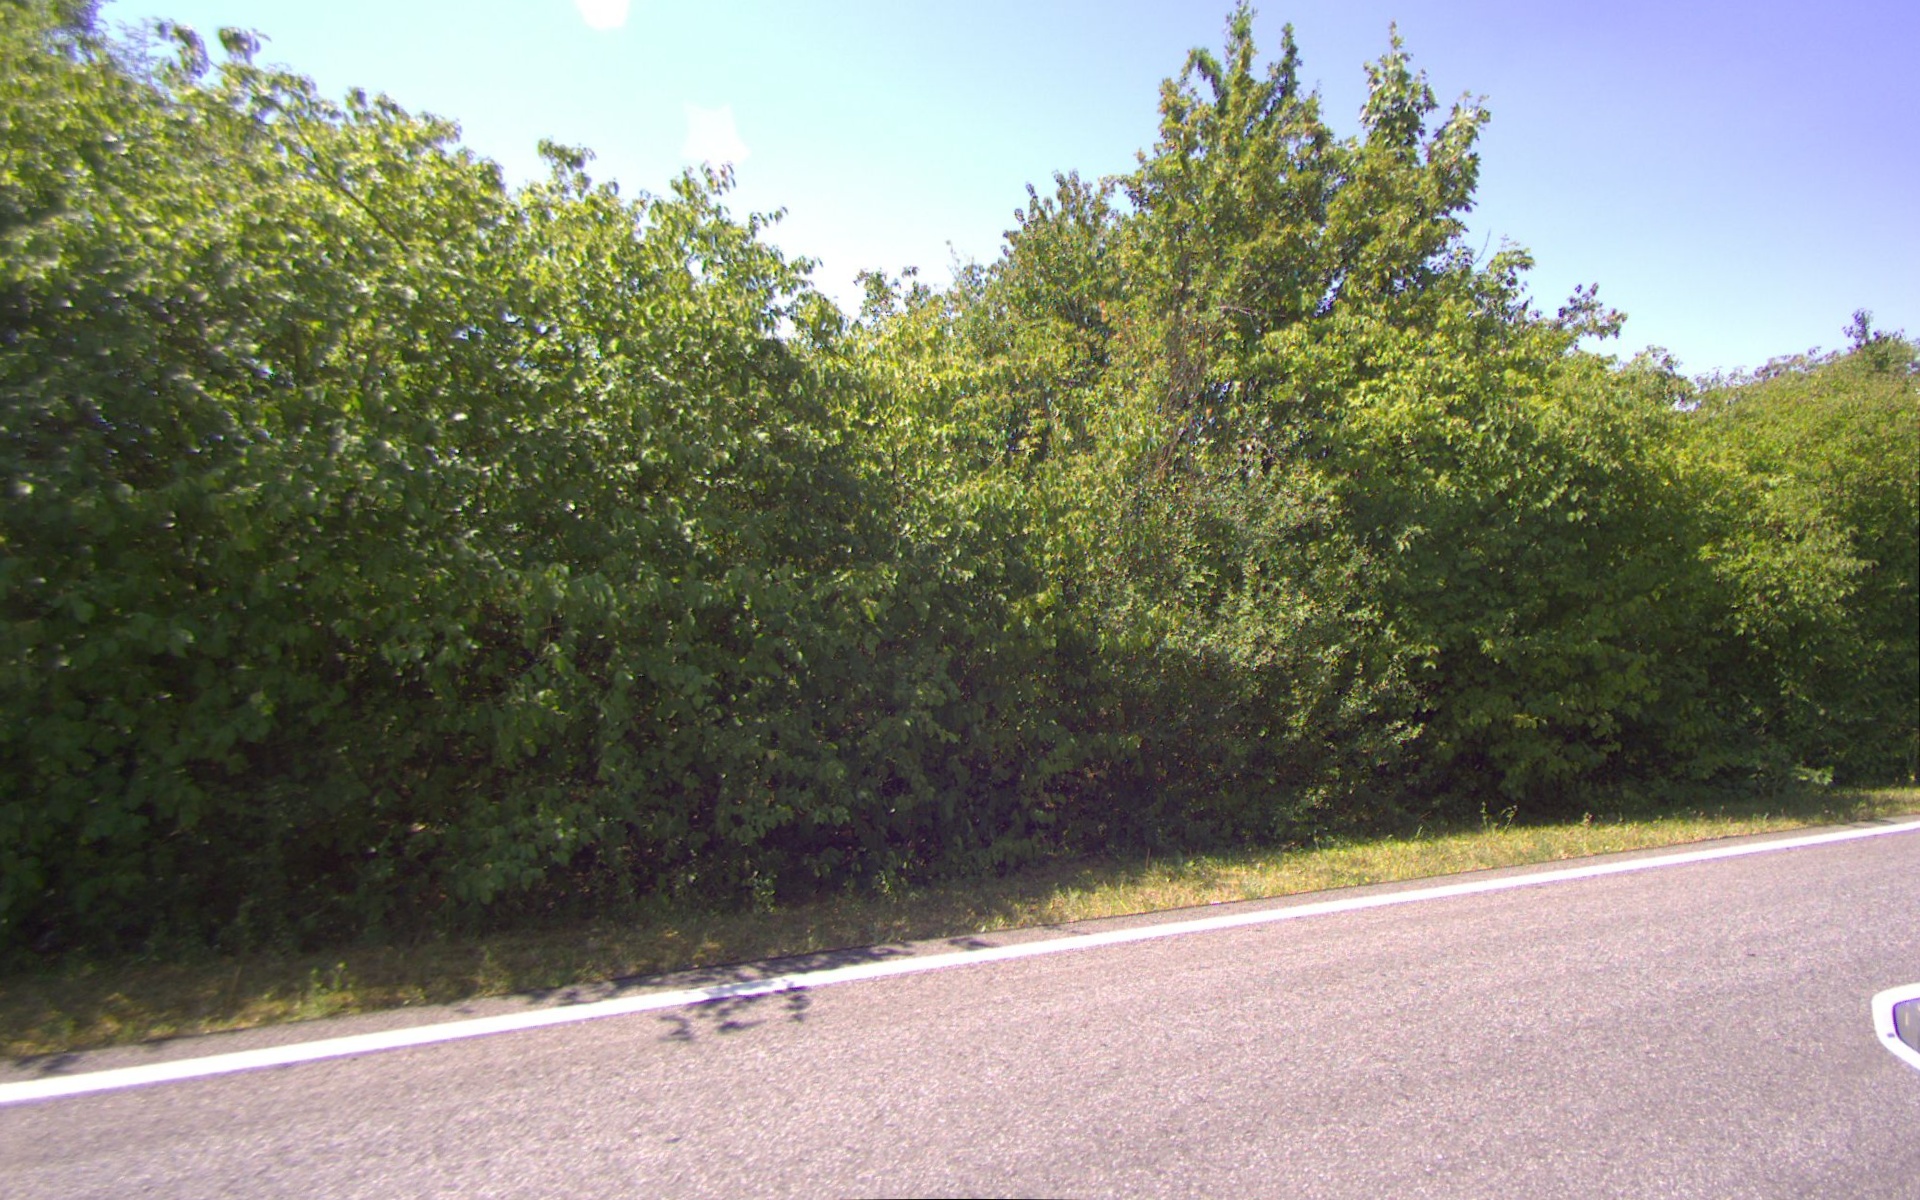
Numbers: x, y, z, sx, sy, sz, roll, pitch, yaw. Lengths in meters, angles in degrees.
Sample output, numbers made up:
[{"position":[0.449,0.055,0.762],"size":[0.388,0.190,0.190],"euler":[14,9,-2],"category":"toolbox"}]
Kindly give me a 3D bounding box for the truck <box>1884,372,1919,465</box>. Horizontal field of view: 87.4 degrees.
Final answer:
[{"position":[43.794,-7.795,42.158],"size":[8.752,3.637,3.029],"euler":[-3,0,-14],"category":"truck"}]
